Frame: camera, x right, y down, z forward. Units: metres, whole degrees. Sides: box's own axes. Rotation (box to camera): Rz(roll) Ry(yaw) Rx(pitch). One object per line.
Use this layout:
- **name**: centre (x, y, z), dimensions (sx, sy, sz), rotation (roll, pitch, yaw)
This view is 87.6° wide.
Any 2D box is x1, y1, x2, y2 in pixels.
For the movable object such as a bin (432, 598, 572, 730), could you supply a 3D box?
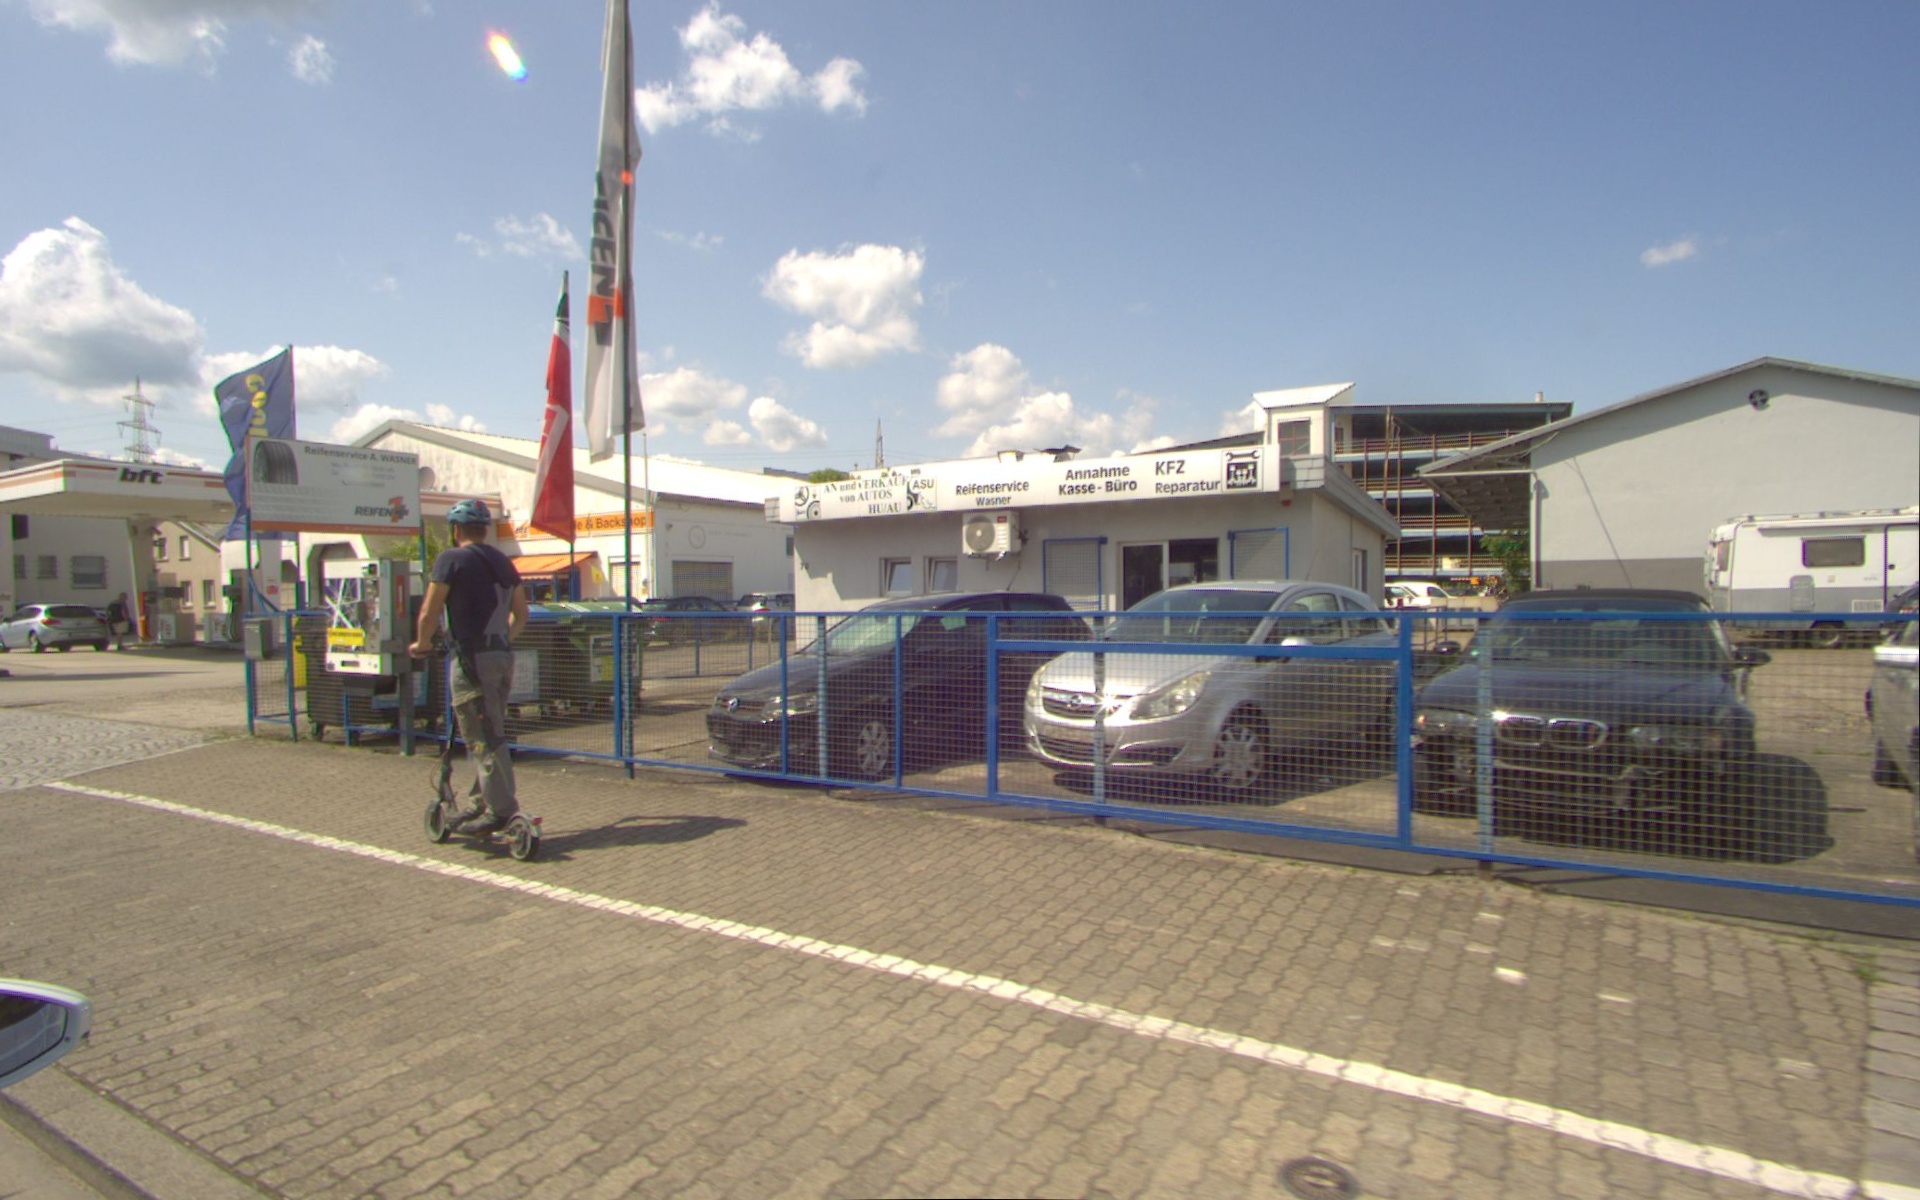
- **movable object such as a bin**: centre (-5.478, 0.731, 12.031), dimensions (0.812, 1.464, 1.253), rotation (-1, 1, 32)

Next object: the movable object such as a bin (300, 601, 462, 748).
- **movable object such as a bin**: centre (-6.282, 0.766, 10.913), dimensions (0.812, 1.464, 1.253), rotation (-1, 1, 32)

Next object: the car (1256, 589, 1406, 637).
- **car**: centre (11.557, 0.401, 31.235), dimensions (4.119, 1.407, 1.918), rotation (-1, 1, 30)

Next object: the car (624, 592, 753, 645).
- **car**: centre (-7.891, 0.504, 29.329), dimensions (1.588, 1.379, 3.488), rotation (-1, 1, 31)

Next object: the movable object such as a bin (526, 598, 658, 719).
- **movable object such as a bin**: centre (-4.813, 0.732, 13.178), dimensions (0.939, 1.464, 1.320), rotation (-1, 1, 25)

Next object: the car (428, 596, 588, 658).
- **car**: centre (-11.190, 0.634, 24.975), dimensions (1.588, 1.379, 3.313), rotation (-1, 1, 31)

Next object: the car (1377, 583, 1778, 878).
- **car**: centre (4.370, 0.590, 6.773), dimensions (1.798, 1.374, 3.969), rotation (0, 1, 39)

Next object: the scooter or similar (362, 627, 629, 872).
- **scooter or similar**: centre (-2.670, 0.779, 5.710), dimensions (1.587, 1.211, 0.539), rotation (-1, 3, 31)

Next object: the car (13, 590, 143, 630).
- **car**: centre (-39.806, 0.415, 45.301), dimensions (1.937, 1.671, 3.979), rotation (-1, 1, 31)

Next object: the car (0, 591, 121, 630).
- **car**: centre (-41.940, 0.464, 46.619), dimensions (1.937, 1.671, 3.979), rotation (-1, 1, 31)

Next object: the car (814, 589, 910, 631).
- **car**: centre (-3.577, 0.353, 37.110), dimensions (1.589, 1.407, 3.653), rotation (-1, 1, 33)

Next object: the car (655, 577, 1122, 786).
- **car**: centre (-0.480, 0.551, 8.971), dimensions (3.956, 1.462, 1.695), rotation (-1, 1, -41)

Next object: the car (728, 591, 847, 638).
- **car**: centre (-5.666, 0.448, 33.269), dimensions (1.589, 1.407, 3.999), rotation (-1, 1, 33)

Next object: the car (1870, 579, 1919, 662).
- **car**: centre (18.600, 0.312, 17.154), dimensions (4.119, 1.407, 1.918), rotation (-1, 1, 30)

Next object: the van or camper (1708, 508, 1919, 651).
- **van or camper**: centre (18.953, -0.413, 20.960), dimensions (4.985, 2.810, 2.305), rotation (-1, 1, 29)

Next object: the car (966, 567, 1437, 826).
- **car**: centre (2.069, 0.545, 7.863), dimensions (3.959, 1.516, 1.734), rotation (-1, 1, -44)

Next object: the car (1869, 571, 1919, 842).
- **car**: centre (6.236, 0.553, 5.303), dimensions (1.798, 1.450, 4.166), rotation (0, 1, 38)

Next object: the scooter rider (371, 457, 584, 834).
- **scooter rider**: centre (-2.768, 0.236, 5.778), dimensions (0.774, 1.990, 0.715), rotation (0, 3, 32)

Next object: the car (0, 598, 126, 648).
- **car**: centre (-28.416, 0.725, 31.578), dimensions (3.940, 1.439, 1.956), rotation (-1, 1, 30)

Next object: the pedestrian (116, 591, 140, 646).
- **pedestrian**: centre (-26.253, 0.570, 31.599), dimensions (0.478, 1.712, 0.395), rotation (0, 2, 33)
